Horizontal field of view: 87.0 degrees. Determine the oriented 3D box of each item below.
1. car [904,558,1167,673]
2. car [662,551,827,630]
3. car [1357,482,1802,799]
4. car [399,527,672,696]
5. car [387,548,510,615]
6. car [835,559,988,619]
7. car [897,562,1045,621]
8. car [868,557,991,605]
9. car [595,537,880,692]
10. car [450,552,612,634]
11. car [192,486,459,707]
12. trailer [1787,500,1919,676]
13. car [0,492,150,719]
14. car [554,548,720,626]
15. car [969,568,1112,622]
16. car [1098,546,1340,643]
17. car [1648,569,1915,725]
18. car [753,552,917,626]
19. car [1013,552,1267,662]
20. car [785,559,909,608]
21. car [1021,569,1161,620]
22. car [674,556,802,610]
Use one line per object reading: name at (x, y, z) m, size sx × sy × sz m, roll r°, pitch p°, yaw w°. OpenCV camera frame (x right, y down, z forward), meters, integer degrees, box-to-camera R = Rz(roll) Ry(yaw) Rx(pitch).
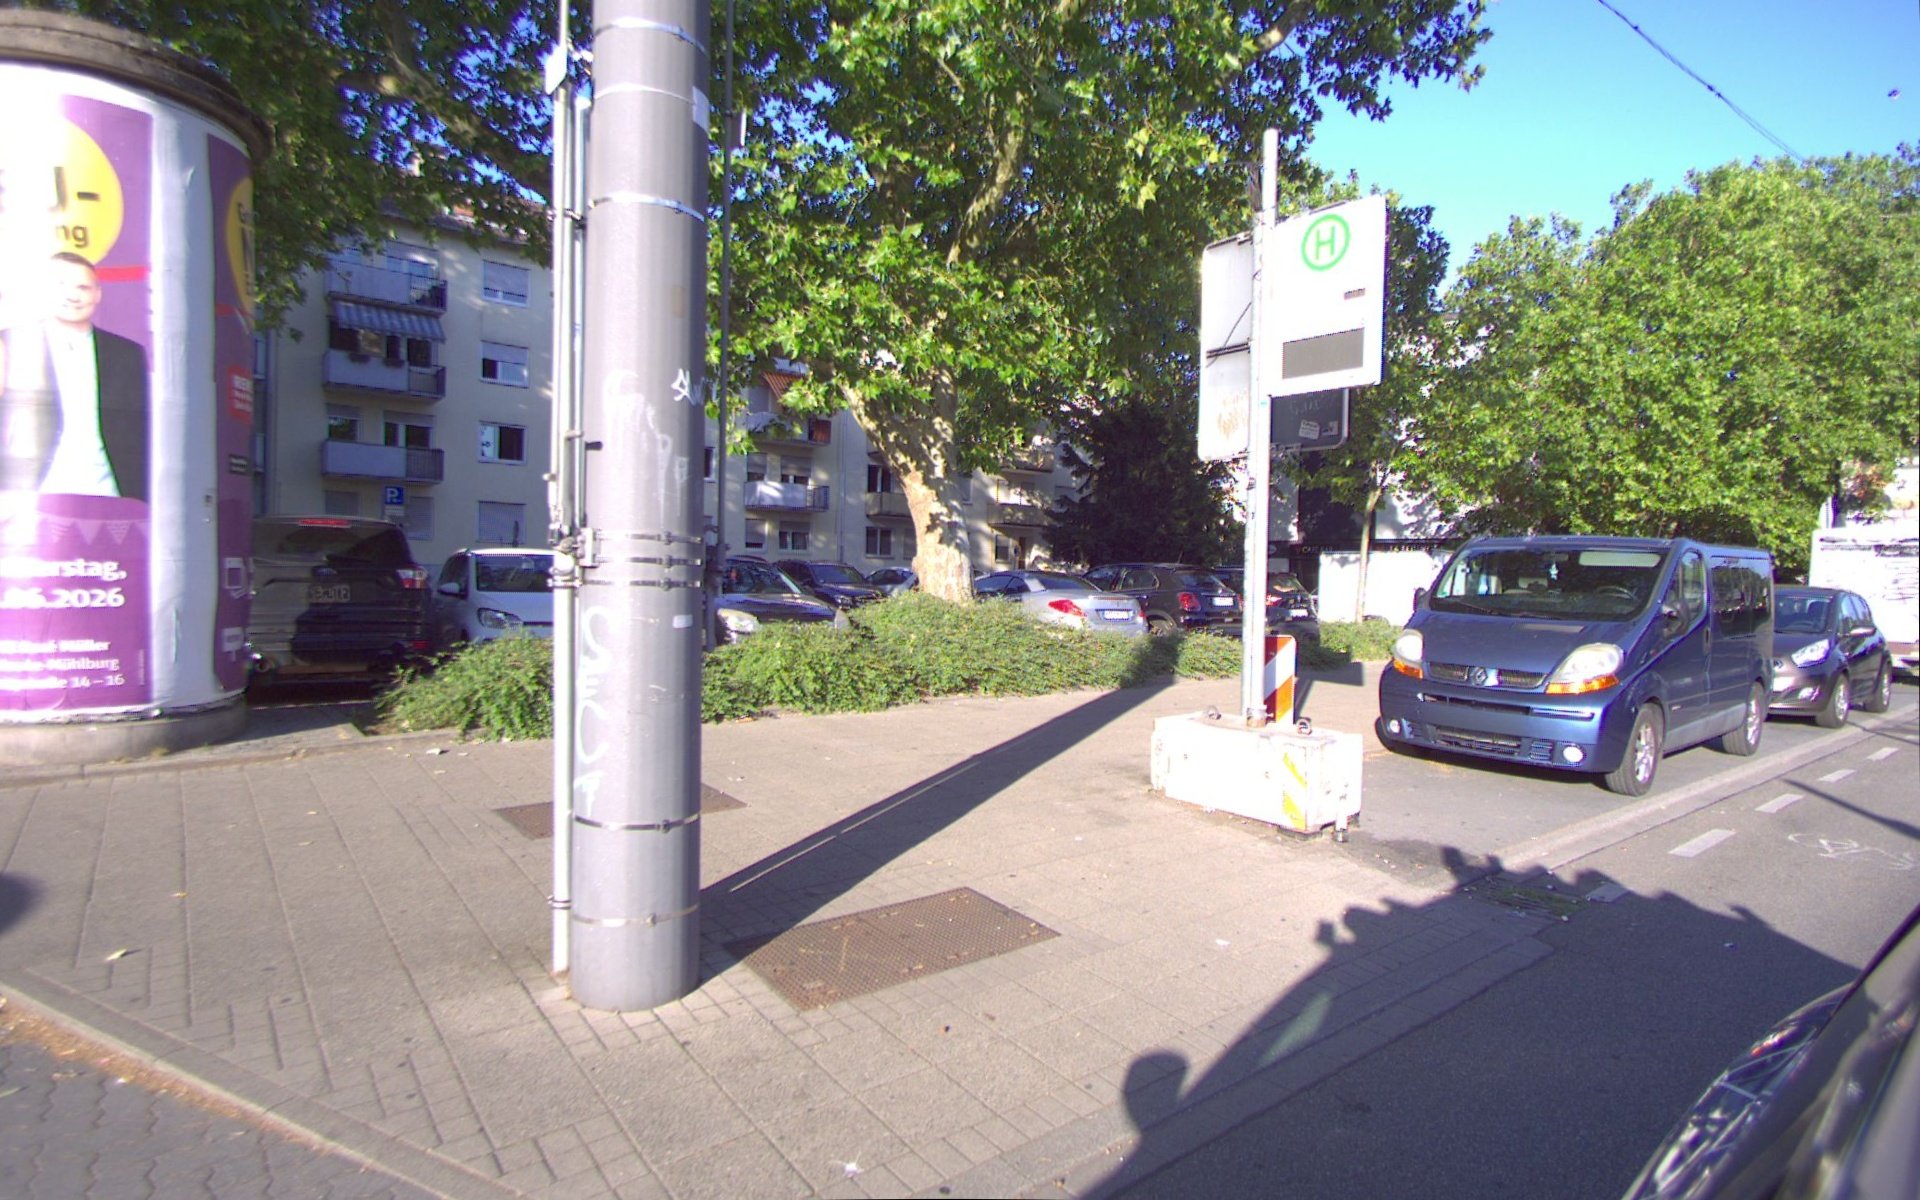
car at (1.022, 0.141, 15.686) m, size 1.769 × 1.513 × 4.124 m, roll 0°, pitch 2°, yaw -37°
car at (-5.205, -0.285, 24.060) m, size 1.966 × 1.712 × 4.288 m, roll 0°, pitch 2°, yaw -42°
car at (5.567, 0.234, 8.863) m, size 4.480 × 2.104 × 1.890 m, roll 0°, pitch 2°, yaw -39°
car at (-4.670, 0.122, 10.824) m, size 1.769 × 1.455 × 3.850 m, roll 2°, pitch -1°, yaw -37°
car at (-12.716, -0.486, 25.066) m, size 1.786 × 1.514 × 3.876 m, roll 0°, pitch 2°, yaw -42°
car at (-1.412, -0.346, 27.903) m, size 1.966 × 1.514 × 4.288 m, roll 0°, pitch 2°, yaw -42°
car at (0.250, -0.288, 29.506) m, size 1.966 × 1.553 × 4.288 m, roll 0°, pitch 2°, yaw -42°
car at (-1.130, -0.687, 35.103) m, size 1.966 × 1.514 × 4.288 m, roll 0°, pitch 2°, yaw -42°
car at (-2.823, 0.064, 12.111) m, size 1.769 × 1.513 × 4.124 m, roll 0°, pitch 2°, yaw -37°
car at (-9.132, -0.209, 21.358) m, size 1.965 × 1.553 × 4.290 m, roll 0°, pitch 2°, yaw -40°
car at (-6.191, -0.030, 9.692) m, size 1.822 × 1.652 × 3.850 m, roll 0°, pitch 0°, yaw -37°
trailer at (15.689, -0.201, 16.943) m, size 4.566 × 2.620 × 1.890 m, roll 0°, pitch 2°, yaw -39°
car at (-7.781, 0.067, 8.154) m, size 1.822 × 1.514 × 3.850 m, roll 0°, pitch -1°, yaw -37°
car at (-7.288, -0.335, 22.580) m, size 1.966 × 1.553 × 4.288 m, roll 0°, pitch 2°, yaw -42°
car at (2.433, -0.205, 31.471) m, size 1.966 × 1.514 × 4.288 m, roll 0°, pitch 2°, yaw -42°
car at (4.639, -0.079, 18.627) m, size 1.769 × 1.570 × 4.123 m, roll 0°, pitch -1°, yaw -37°
car at (10.413, 0.476, 12.750) m, size 3.927 × 1.651 × 1.800 m, roll 0°, pitch 2°, yaw -39°
car at (-3.254, -0.335, 25.681) m, size 1.966 × 1.712 × 4.450 m, roll 0°, pitch 2°, yaw -42°
car at (2.916, 0.026, 17.151) m, size 1.769 × 1.619 × 4.124 m, roll 0°, pitch 2°, yaw -37°
car at (-3.820, -0.580, 33.705) m, size 1.966 × 1.514 × 4.288 m, roll 0°, pitch 2°, yaw -42°
car at (4.221, -0.217, 33.109) m, size 1.966 × 1.514 × 4.288 m, roll 0°, pitch 2°, yaw -42°
car at (-6.773, -0.554, 30.637) m, size 1.948 × 1.514 × 4.288 m, roll 0°, pitch 2°, yaw -42°
